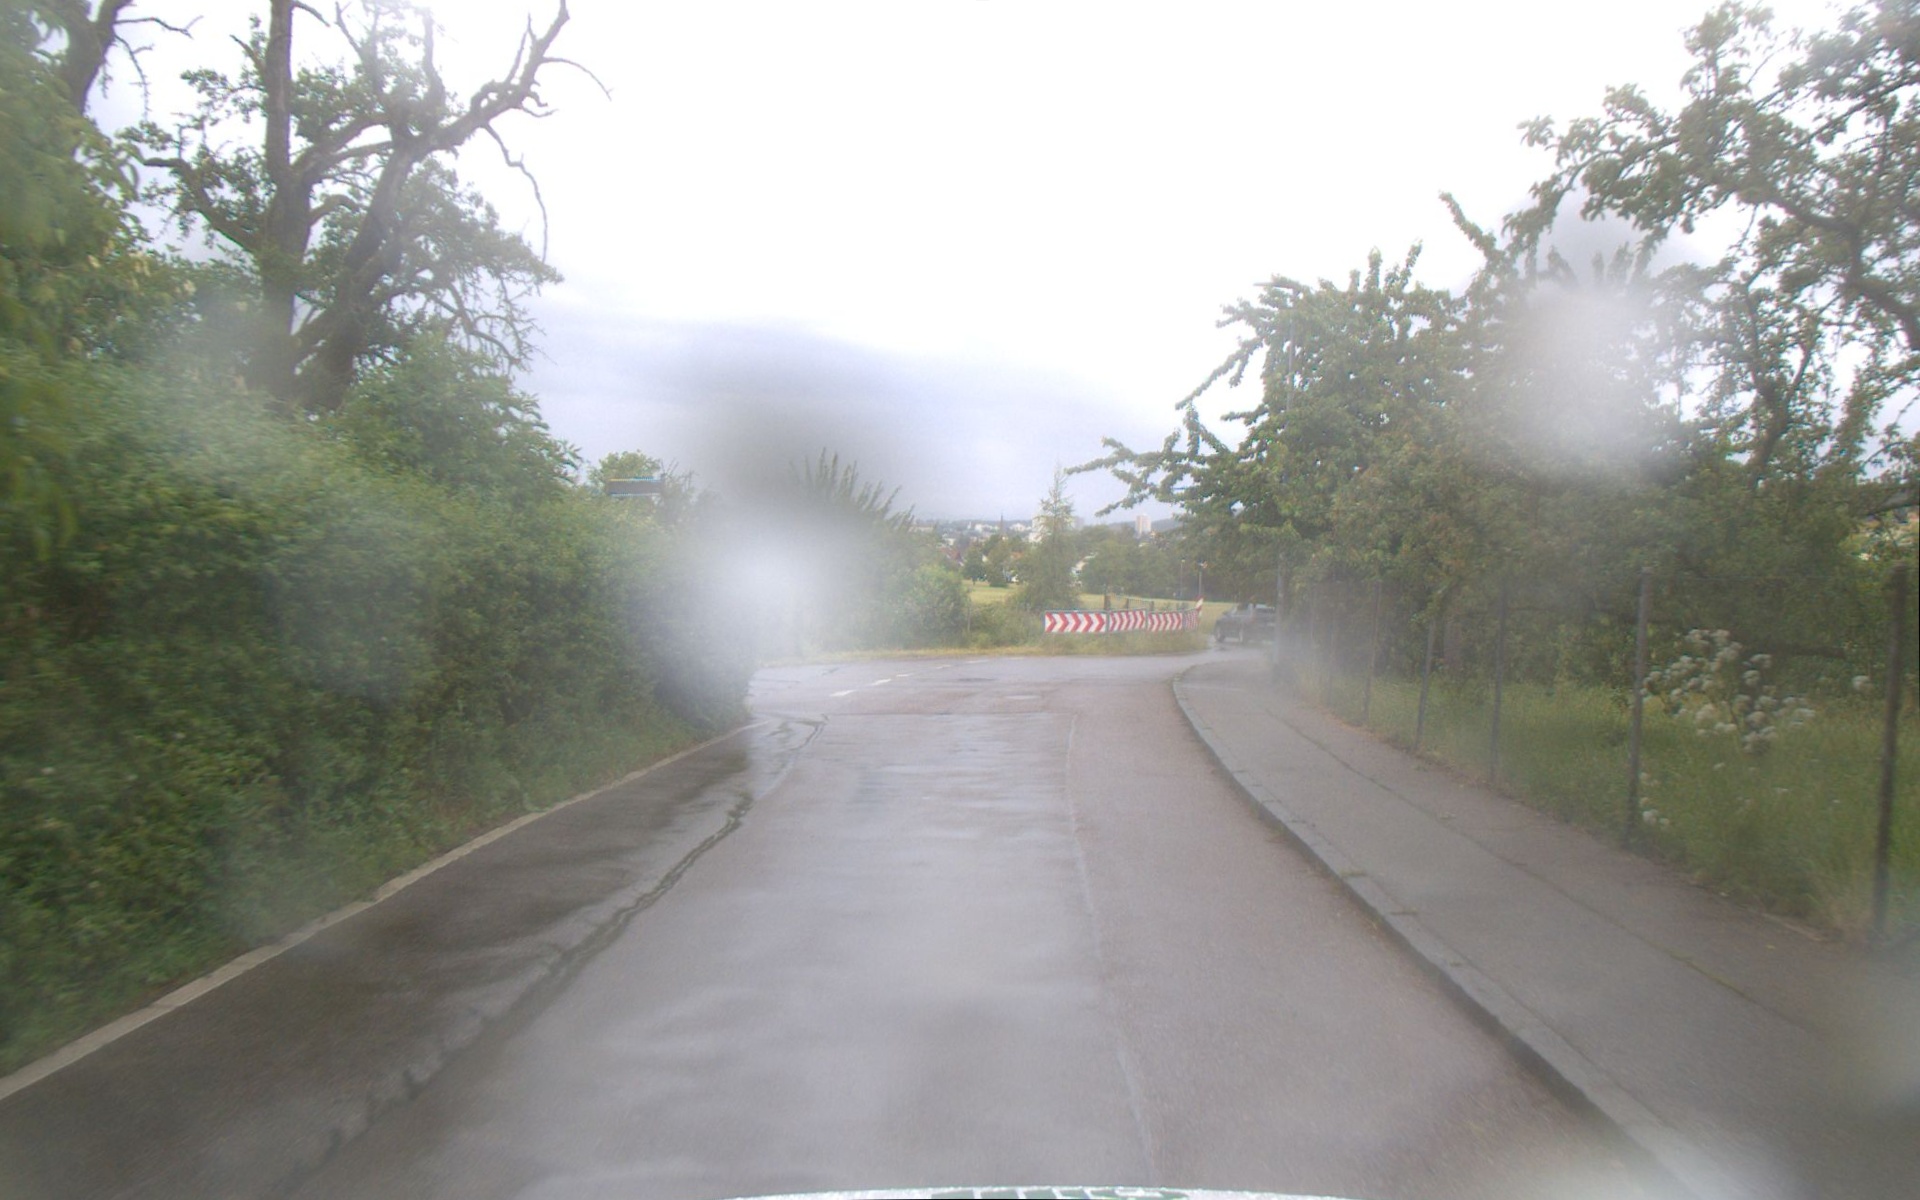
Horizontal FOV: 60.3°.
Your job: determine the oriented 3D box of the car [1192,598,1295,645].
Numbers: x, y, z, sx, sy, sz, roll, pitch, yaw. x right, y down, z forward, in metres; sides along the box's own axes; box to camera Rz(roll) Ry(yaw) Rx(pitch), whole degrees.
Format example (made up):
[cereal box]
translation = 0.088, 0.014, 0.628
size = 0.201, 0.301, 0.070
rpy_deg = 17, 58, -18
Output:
[car]
translation = 10.316, 0.762, 60.460
size = 1.791, 1.622, 3.970
rpy_deg = 1, 0, -24
